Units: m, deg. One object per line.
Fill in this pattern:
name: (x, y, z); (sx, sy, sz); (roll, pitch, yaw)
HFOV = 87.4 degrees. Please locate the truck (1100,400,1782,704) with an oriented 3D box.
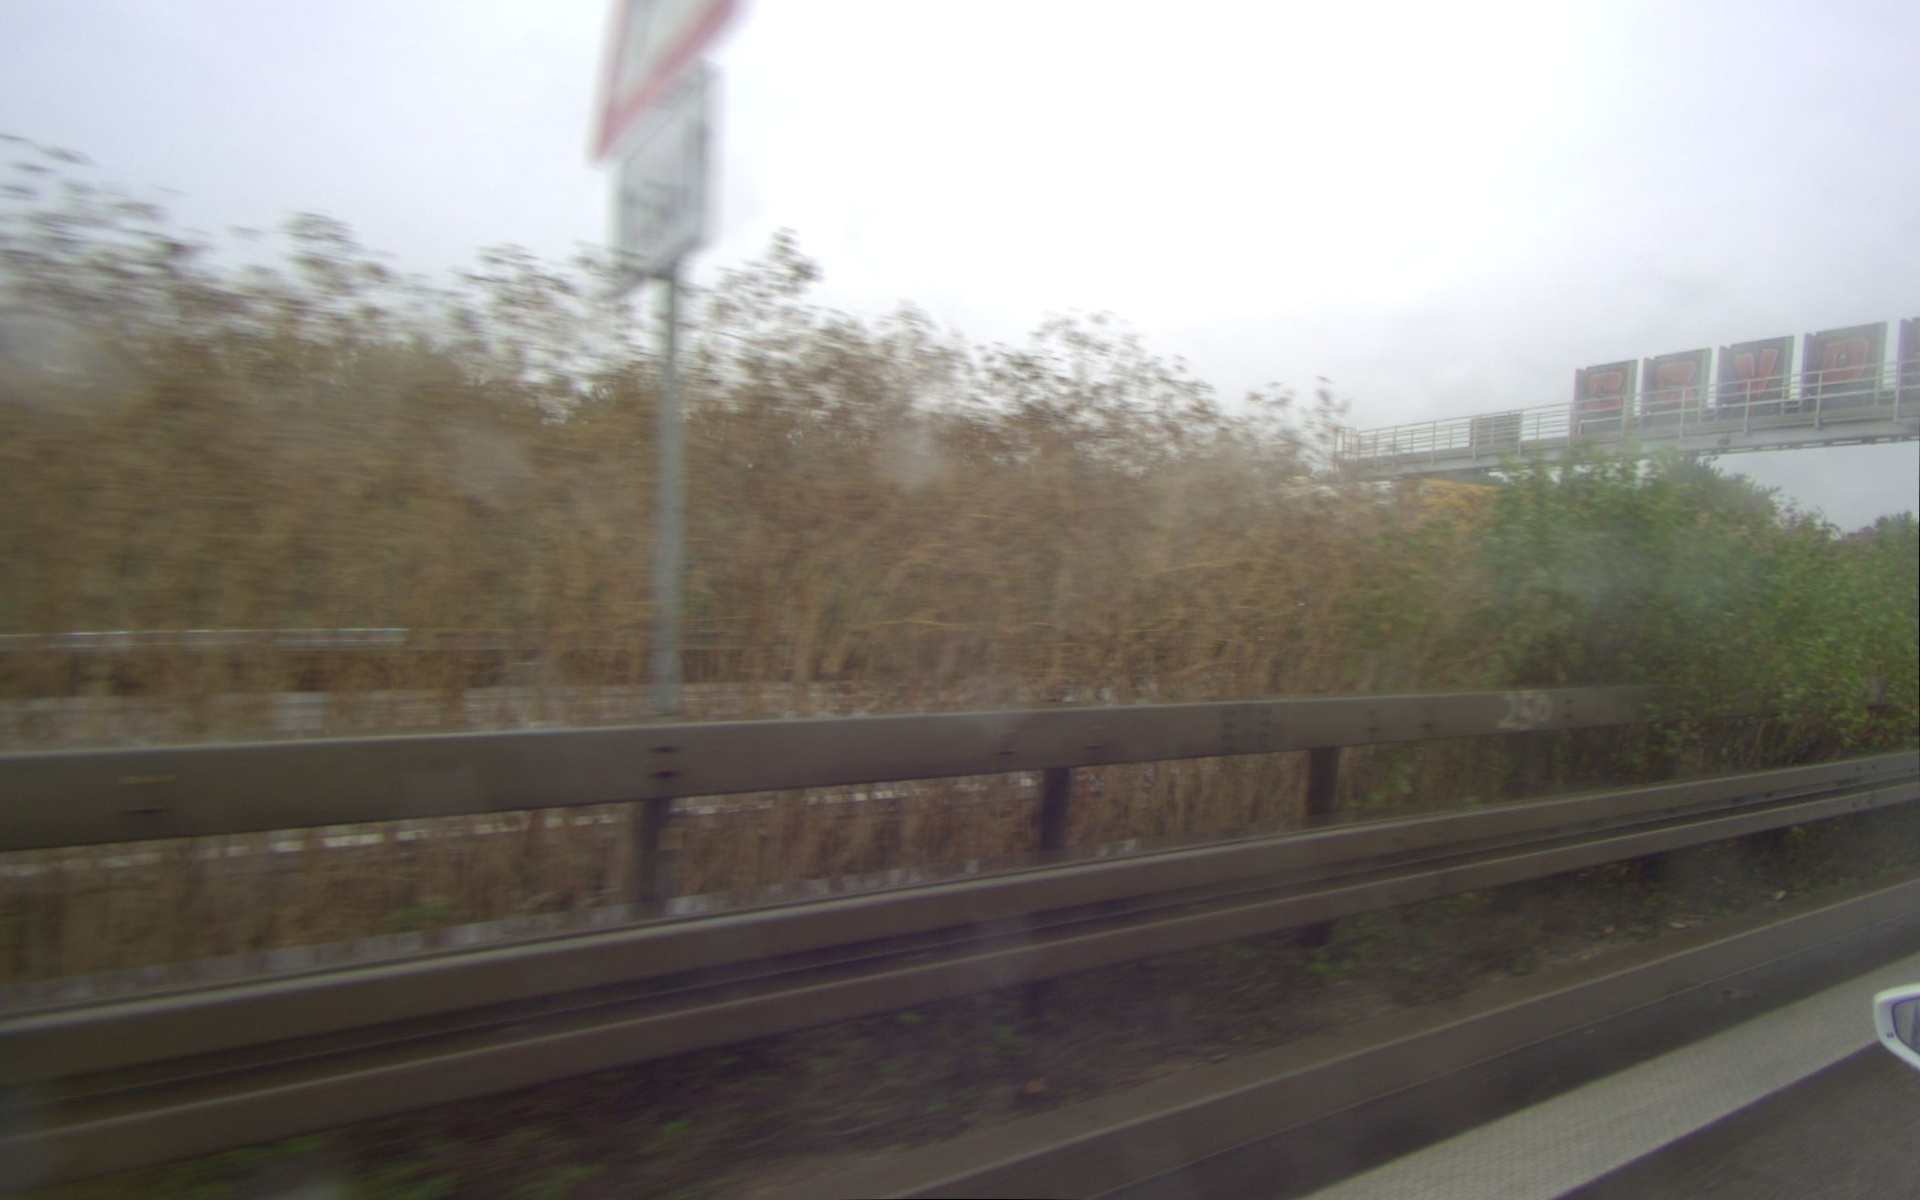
truck: (11.930, -0.698, 23.326); (18.003, 5.111, 4.685); (1, 0, -29)
